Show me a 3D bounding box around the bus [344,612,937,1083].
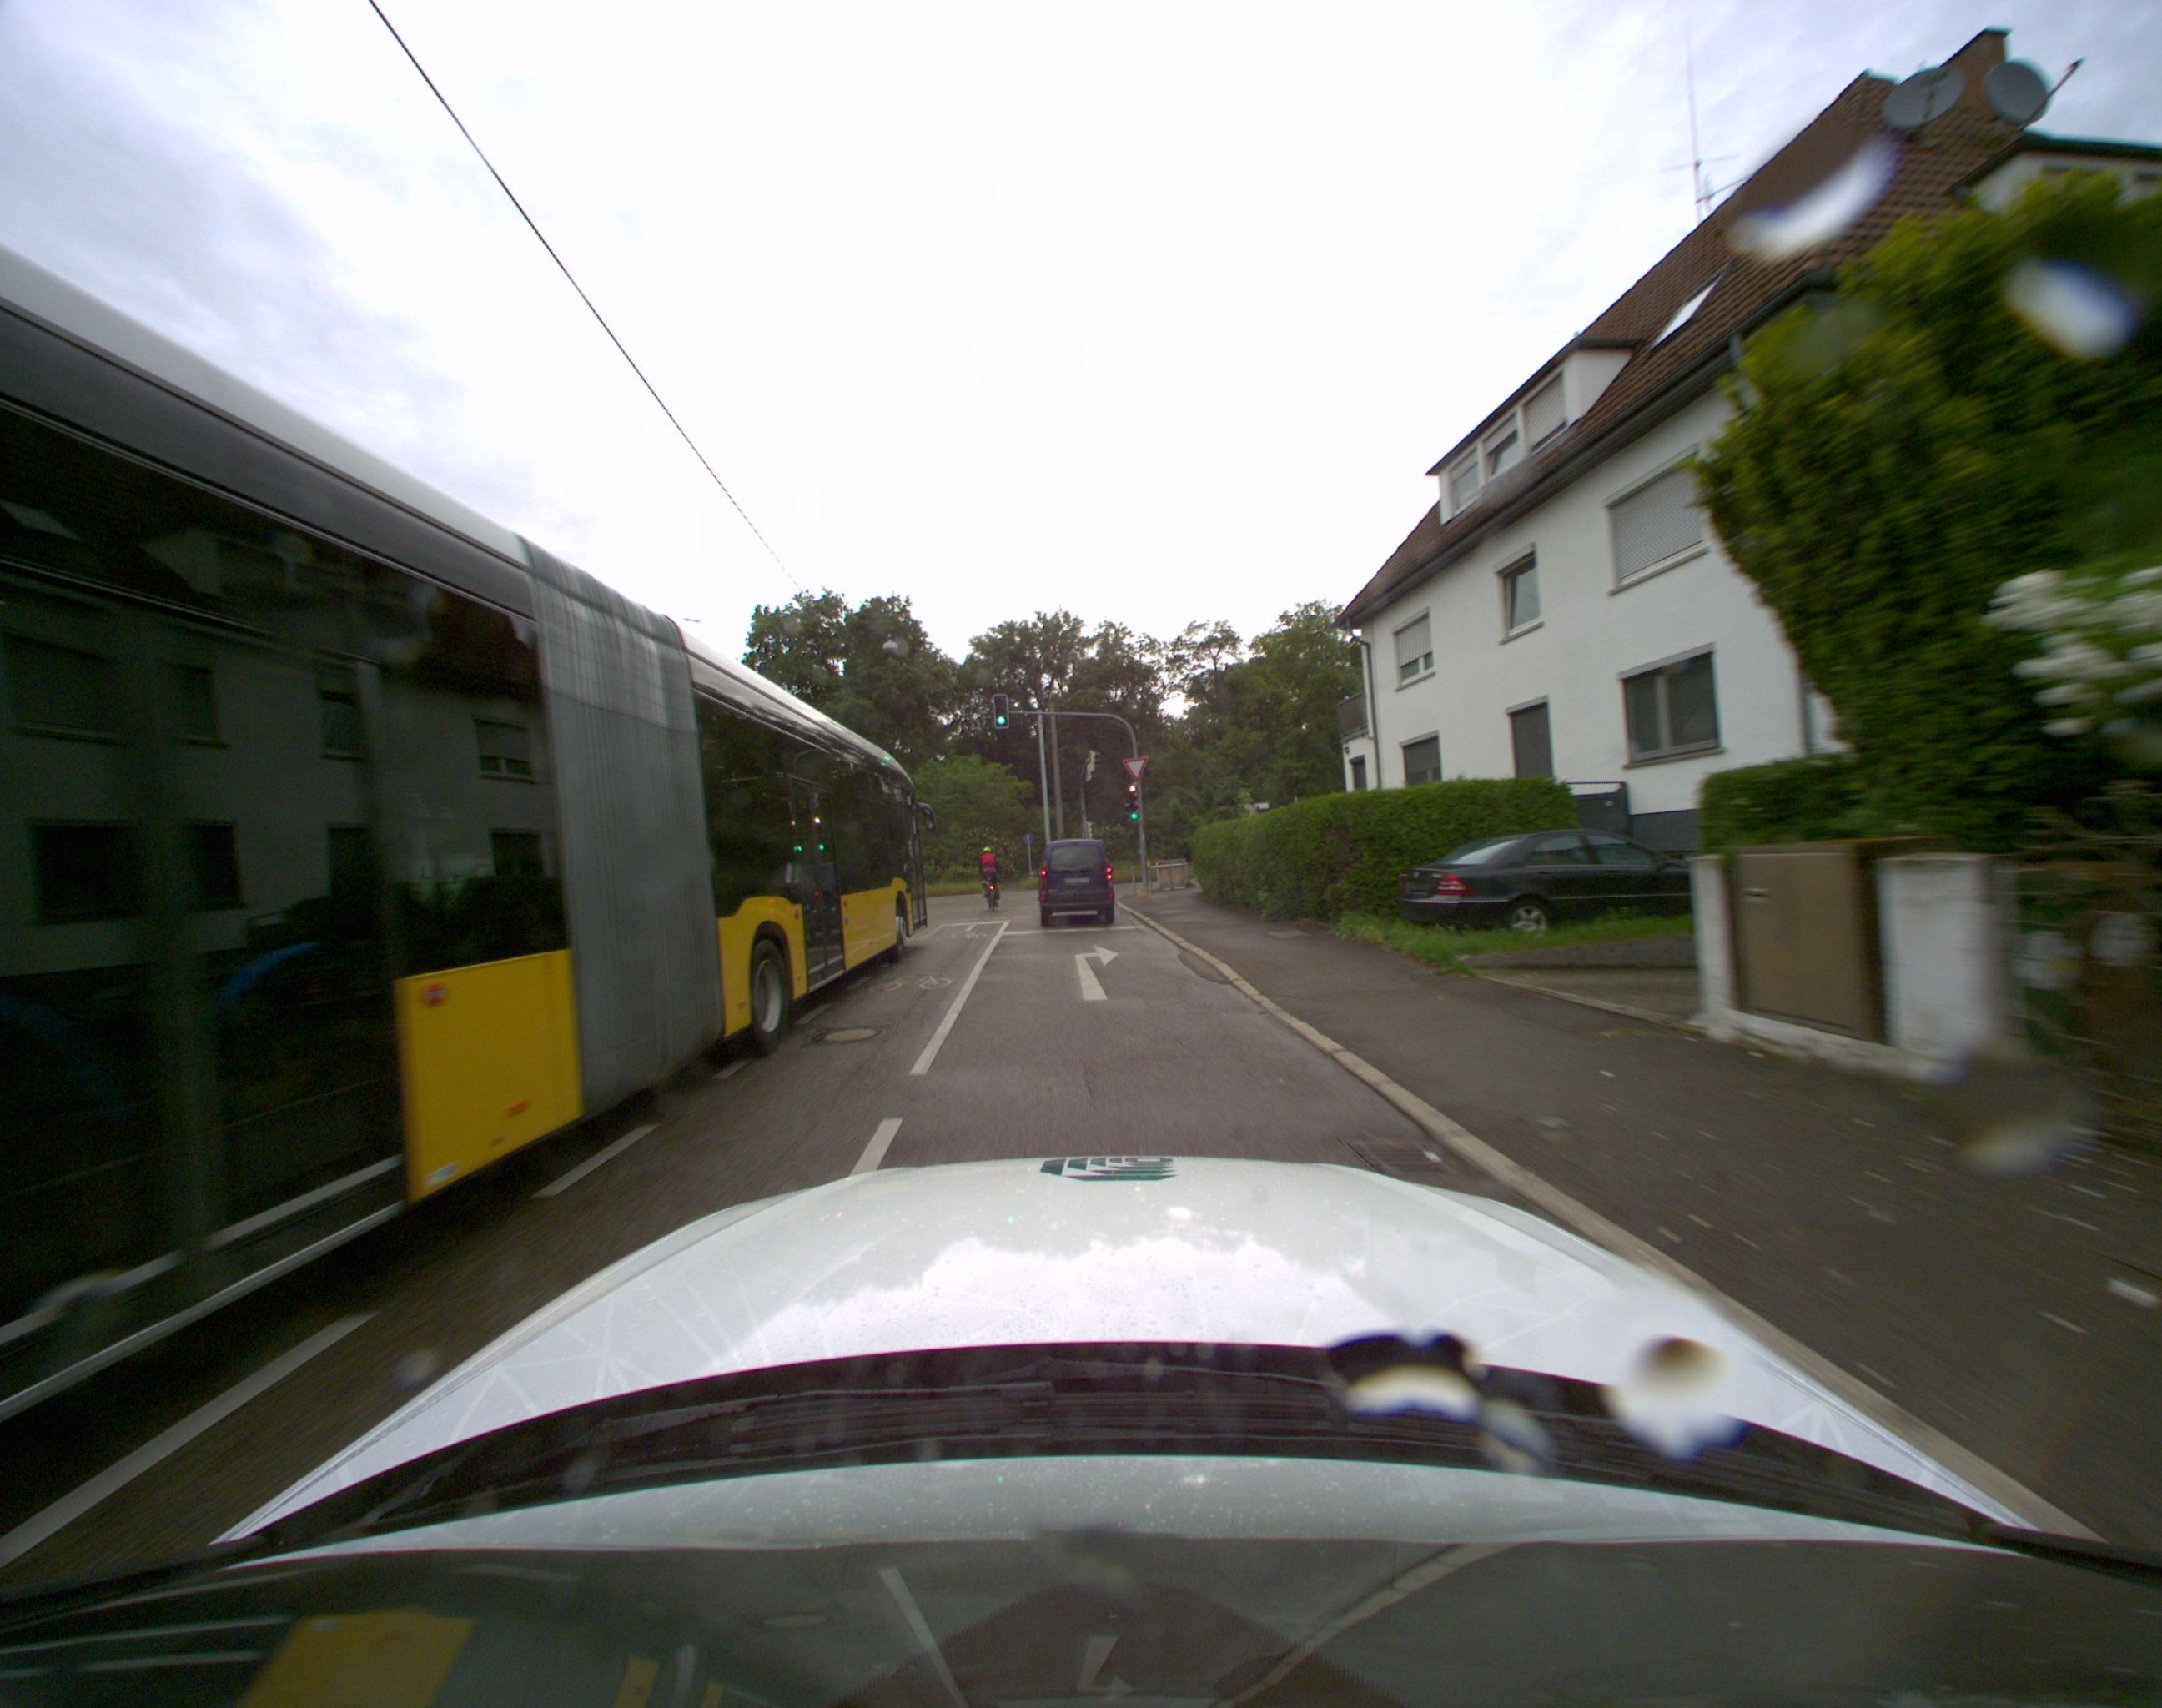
[{"bbox_3d":[-4.119,-0.064,10.696,2.892,3.398,9.034,-4,0,-2],"label":"bus"}]

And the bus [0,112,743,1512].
[{"bbox_3d":[-3.946,-0.083,1.638,2.668,3.398,8.680,-4,0,0],"label":"bus"}]

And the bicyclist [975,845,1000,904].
[{"bbox_3d":[-2.725,0.581,23.746,0.579,1.652,1.044,-2,0,-11],"label":"bicyclist"}]

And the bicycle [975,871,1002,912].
[{"bbox_3d":[-2.728,1.076,23.876,0.578,1.096,2.146,-2,0,-11],"label":"bicycle"}]

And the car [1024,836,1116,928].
[{"bbox_3d":[-0.261,0.616,18.880,1.804,1.797,3.998,-3,-1,-1],"label":"car"}]

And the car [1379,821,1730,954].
[{"bbox_3d":[6.119,0.378,10.762,3.736,1.388,1.614,-4,2,-4],"label":"car"}]
